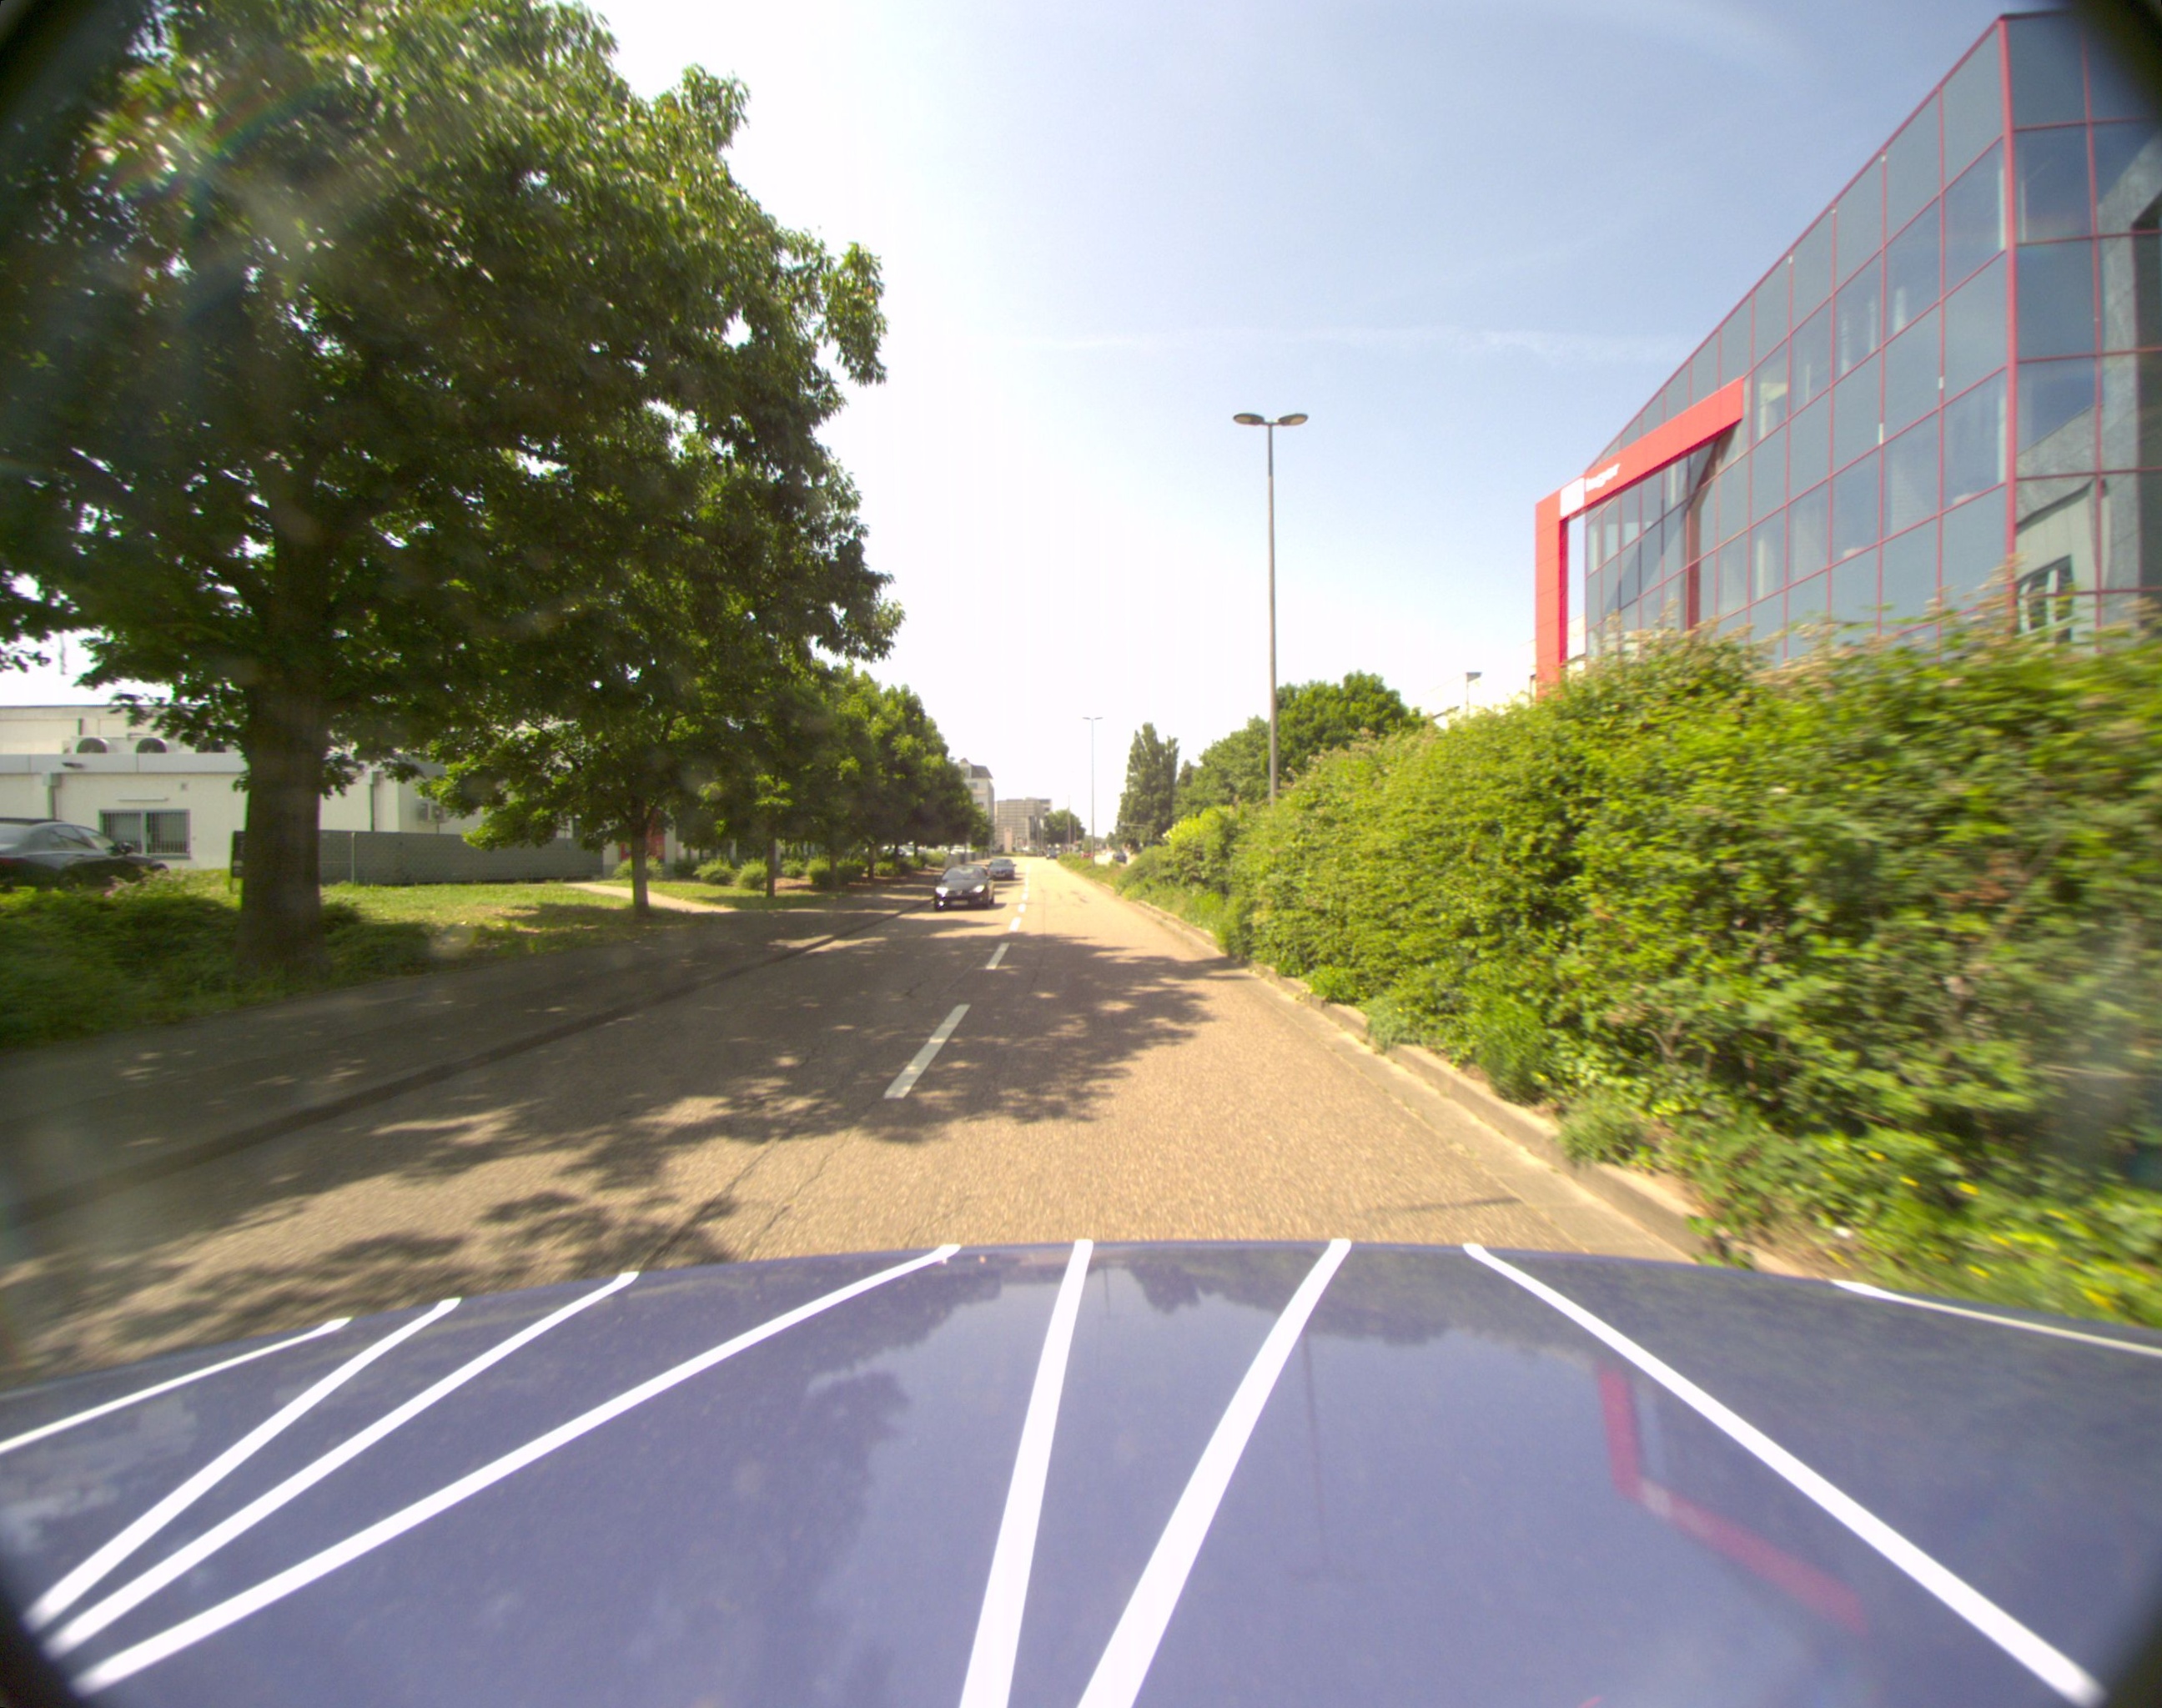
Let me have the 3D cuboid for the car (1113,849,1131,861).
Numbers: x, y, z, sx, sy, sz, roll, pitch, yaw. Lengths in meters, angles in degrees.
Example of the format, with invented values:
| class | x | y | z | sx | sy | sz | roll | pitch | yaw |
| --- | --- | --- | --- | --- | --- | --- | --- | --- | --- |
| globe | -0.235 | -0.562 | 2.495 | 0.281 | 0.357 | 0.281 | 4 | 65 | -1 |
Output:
| class | x | y | z | sx | sy | sz | roll | pitch | yaw |
| --- | --- | --- | --- | --- | --- | --- | --- | --- | --- |
| car | 5.062 | 0.073 | 95.140 | 1.727 | 1.408 | 4.245 | 2 | 0 | -3 |

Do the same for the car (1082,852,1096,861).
| class | x | y | z | sx | sy | sz | roll | pitch | yaw |
| --- | --- | --- | --- | --- | --- | --- | --- | --- | --- |
| car | 1.145 | 0.348 | 111.802 | 1.734 | 1.316 | 4.148 | 1 | 1 | -3 |

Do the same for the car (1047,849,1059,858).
| class | x | y | z | sx | sy | sz | roll | pitch | yaw |
| --- | --- | --- | --- | --- | --- | --- | --- | --- | --- |
| car | -4.469 | -0.068 | 120.603 | 1.868 | 1.390 | 3.999 | 0 | 0 | -1 |

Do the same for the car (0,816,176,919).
| class | x | y | z | sx | sy | sz | roll | pitch | yaw |
| --- | --- | --- | --- | --- | --- | --- | --- | --- | --- |
| car | -16.075 | 0.124 | 11.447 | 1.957 | 1.344 | 4.702 | 1 | 0 | -35 |

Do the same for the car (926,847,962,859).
| class | x | y | z | sx | sy | sz | roll | pitch | yaw |
| --- | --- | --- | --- | --- | --- | --- | --- | --- | --- |
| car | -16.470 | -0.182 | 91.389 | 4.007 | 1.413 | 1.697 | 0 | 1 | -2 |

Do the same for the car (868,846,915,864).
| class | x | y | z | sx | sy | sz | roll | pitch | yaw |
| --- | --- | --- | --- | --- | --- | --- | --- | --- | --- |
| car | -17.601 | 0.080 | 70.702 | 3.999 | 1.587 | 1.826 | -2 | 1 | -6 |

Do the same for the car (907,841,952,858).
| class | x | y | z | sx | sy | sz | roll | pitch | yaw |
| --- | --- | --- | --- | --- | --- | --- | --- | --- | --- |
| car | -16.721 | -0.497 | 84.235 | 4.629 | 1.913 | 1.826 | 0 | 1 | -2 |

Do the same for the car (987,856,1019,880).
| class | x | y | z | sx | sy | sz | roll | pitch | yaw |
| --- | --- | --- | --- | --- | --- | --- | --- | --- | --- |
| car | -4.825 | 0.850 | 47.325 | 1.712 | 1.316 | 3.954 | -3 | 1 | -3 |

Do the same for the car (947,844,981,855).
| class | x | y | z | sx | sy | sz | roll | pitch | yaw |
| --- | --- | --- | --- | --- | --- | --- | --- | --- | --- |
| car | -16.739 | -0.687 | 108.859 | 4.589 | 1.496 | 1.697 | 0 | 1 | -3 |

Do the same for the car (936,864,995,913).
| class | x | y | z | sx | sy | sz | roll | pitch | yaw |
| --- | --- | --- | --- | --- | --- | --- | --- | --- | --- |
| car | -3.658 | 1.051 | 24.510 | 1.642 | 1.349 | 3.497 | -1 | 1 | -5 |
